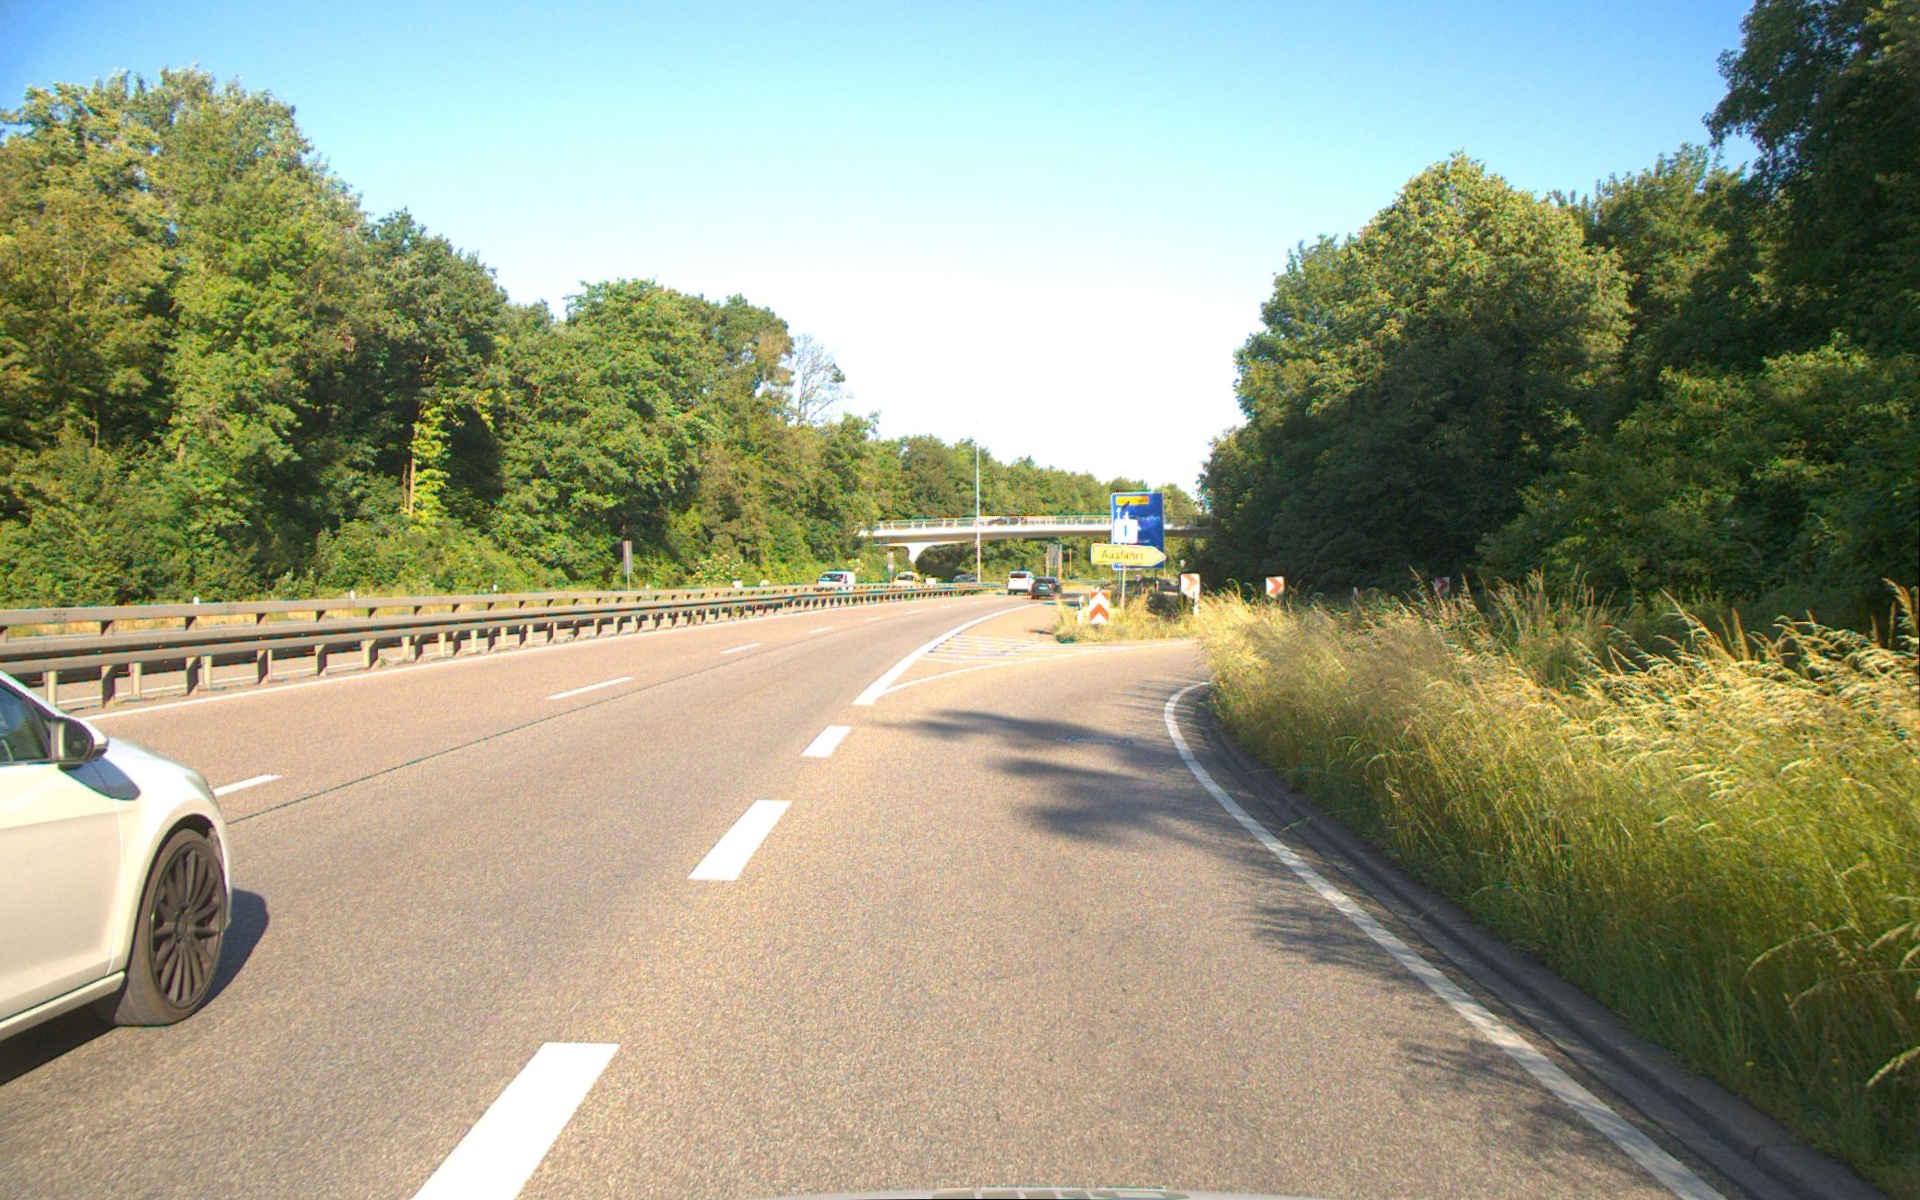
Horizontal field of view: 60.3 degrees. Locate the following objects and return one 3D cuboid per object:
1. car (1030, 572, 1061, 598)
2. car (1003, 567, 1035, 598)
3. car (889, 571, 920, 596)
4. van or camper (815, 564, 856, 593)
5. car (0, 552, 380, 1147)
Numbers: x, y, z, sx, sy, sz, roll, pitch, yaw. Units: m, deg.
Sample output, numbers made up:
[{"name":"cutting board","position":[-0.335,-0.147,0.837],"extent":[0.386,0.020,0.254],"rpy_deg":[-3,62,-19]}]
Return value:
[{"name":"car","position":[5.713,-0.990,109.891],"extent":[1.702,1.691,3.949],"rpy_deg":[0,1,8]},{"name":"car","position":[4.493,-1.328,125.420],"extent":[1.951,2.317,4.003],"rpy_deg":[0,1,8]},{"name":"car","position":[-4.670,-1.386,139.845],"extent":[1.951,2.049,4.003],"rpy_deg":[0,1,7]},{"name":"van or camper","position":[-8.793,-1.512,117.017],"extent":[2.029,2.049,4.822],"rpy_deg":[0,1,7]},{"name":"car","position":[-3.408,0.630,4.206],"extent":[1.890,1.534,5.599],"rpy_deg":[1,1,0]}]
